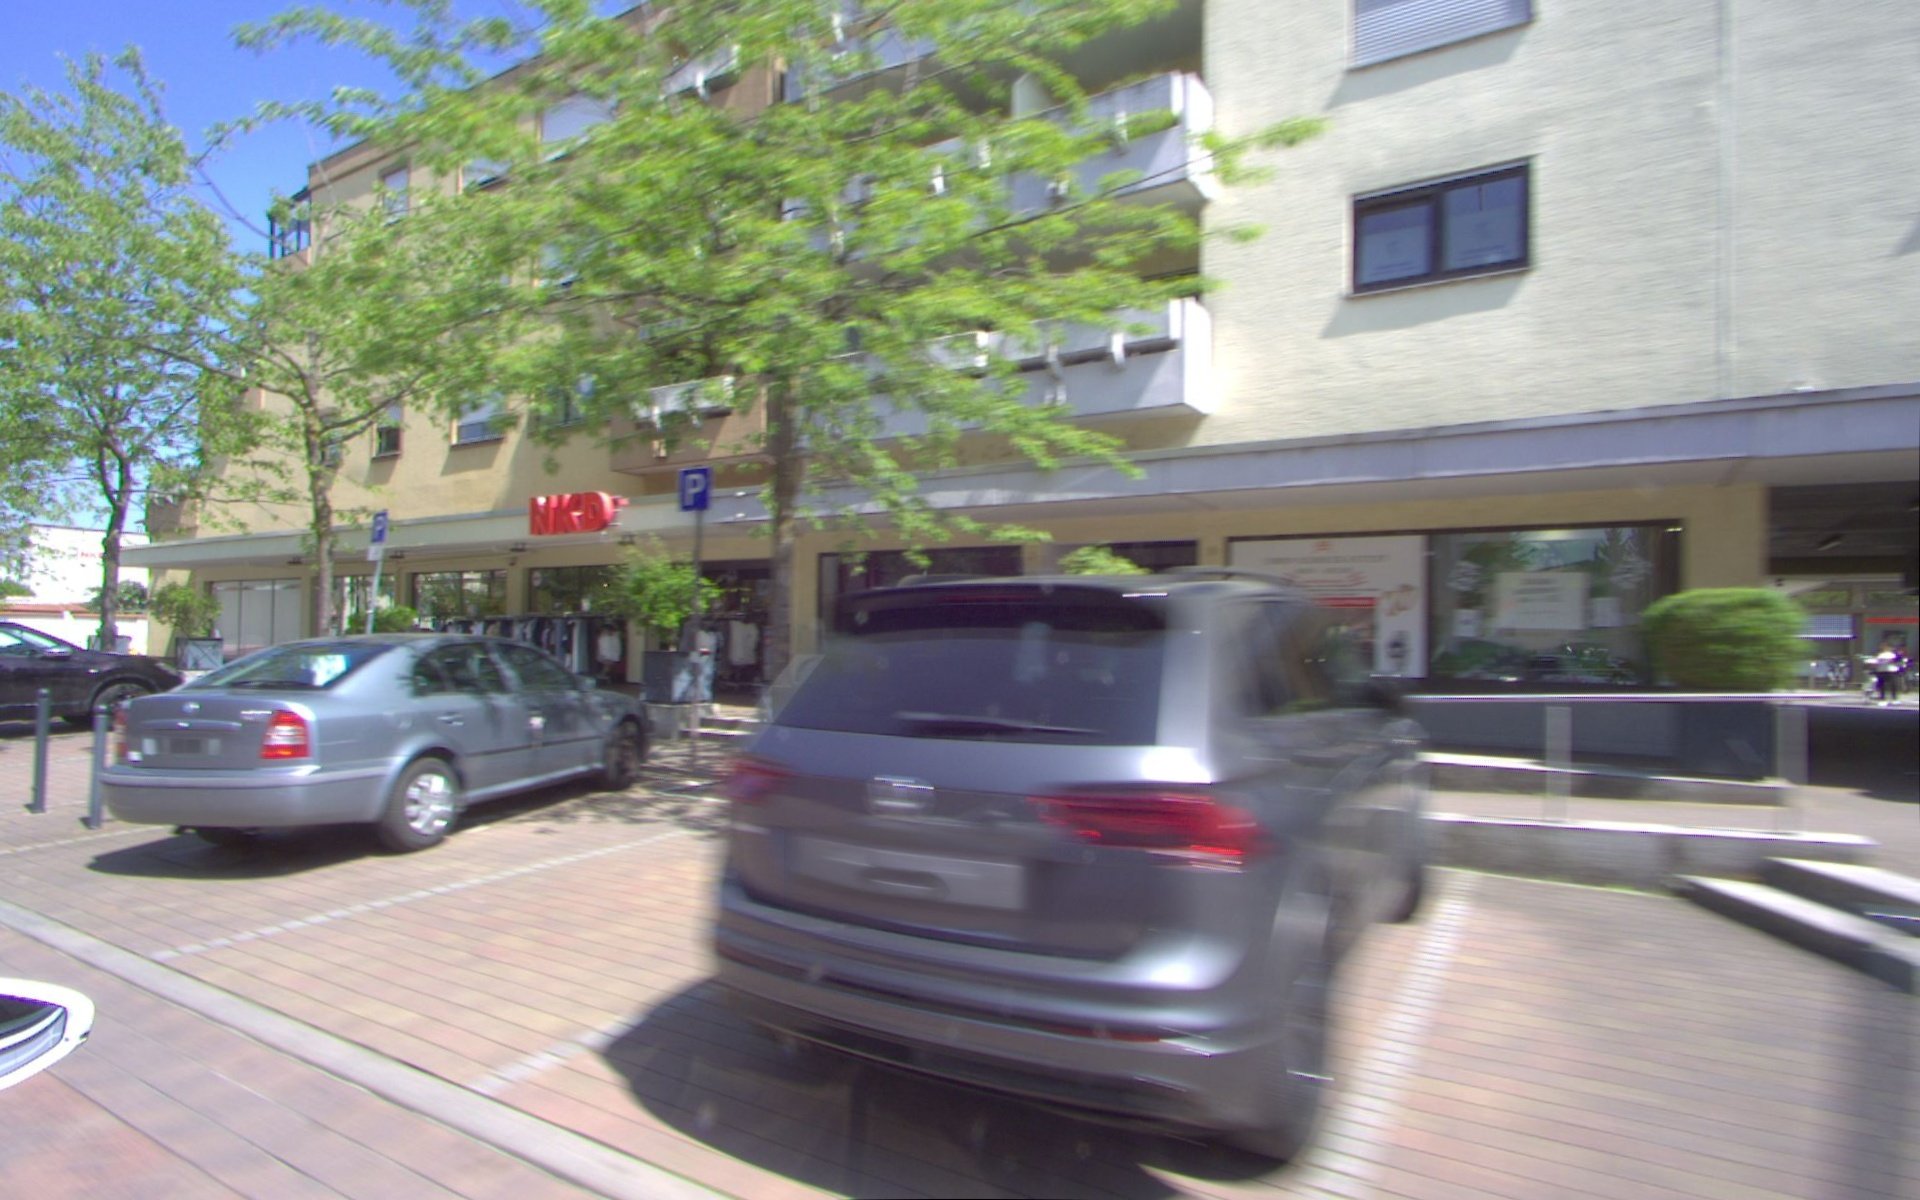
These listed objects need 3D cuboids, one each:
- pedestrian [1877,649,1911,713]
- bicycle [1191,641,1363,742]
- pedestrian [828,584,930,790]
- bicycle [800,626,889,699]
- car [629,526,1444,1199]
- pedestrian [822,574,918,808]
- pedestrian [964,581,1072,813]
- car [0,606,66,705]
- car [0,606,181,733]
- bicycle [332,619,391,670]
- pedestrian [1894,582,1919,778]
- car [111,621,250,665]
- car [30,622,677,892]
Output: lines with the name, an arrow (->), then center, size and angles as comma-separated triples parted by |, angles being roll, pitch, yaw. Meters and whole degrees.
pedestrian -> 21.489, 1.863, 23.042 | 0.470, 1.443, 0.413 | 0, -1, 28
bicycle -> 3.737, 1.053, 11.850 | 1.839, 1.095, 0.641 | -1, -3, 32
pedestrian -> -0.732, 0.775, 9.168 | 0.676, 1.795, 0.630 | 1, -2, 25
bicycle -> -1.770, 0.953, 15.336 | 1.290, 1.080, 0.361 | 0, -2, 19
car -> 0.879, 0.708, 4.207 | 1.731, 1.639, 4.237 | 0, -1, 31
pedestrian -> -0.724, 0.722, 8.211 | 0.594, 1.819, 0.628 | 1, -1, 11
pedestrian -> 0.456, 0.755, 7.974 | 0.606, 1.752, 0.646 | 2, -2, -24
car -> -17.272, 0.883, 15.754 | 1.825, 1.609, 4.497 | 0, -1, 34
car -> -13.061, 0.894, 13.277 | 1.657, 1.633, 4.018 | 0, 0, 33
bicycle -> -13.729, 1.023, 22.963 | 1.750, 1.137, 0.412 | -1, -3, 34
pedestrian -> 9.308, 0.740, 9.309 | 0.859, 1.803, 0.754 | 0, -1, 39
car -> -27.943, 1.545, 35.999 | 1.631, 1.470, 3.610 | 1, -1, 32
car -> -4.161, 0.945, 7.908 | 1.855, 1.482, 4.385 | 0, -2, 12
